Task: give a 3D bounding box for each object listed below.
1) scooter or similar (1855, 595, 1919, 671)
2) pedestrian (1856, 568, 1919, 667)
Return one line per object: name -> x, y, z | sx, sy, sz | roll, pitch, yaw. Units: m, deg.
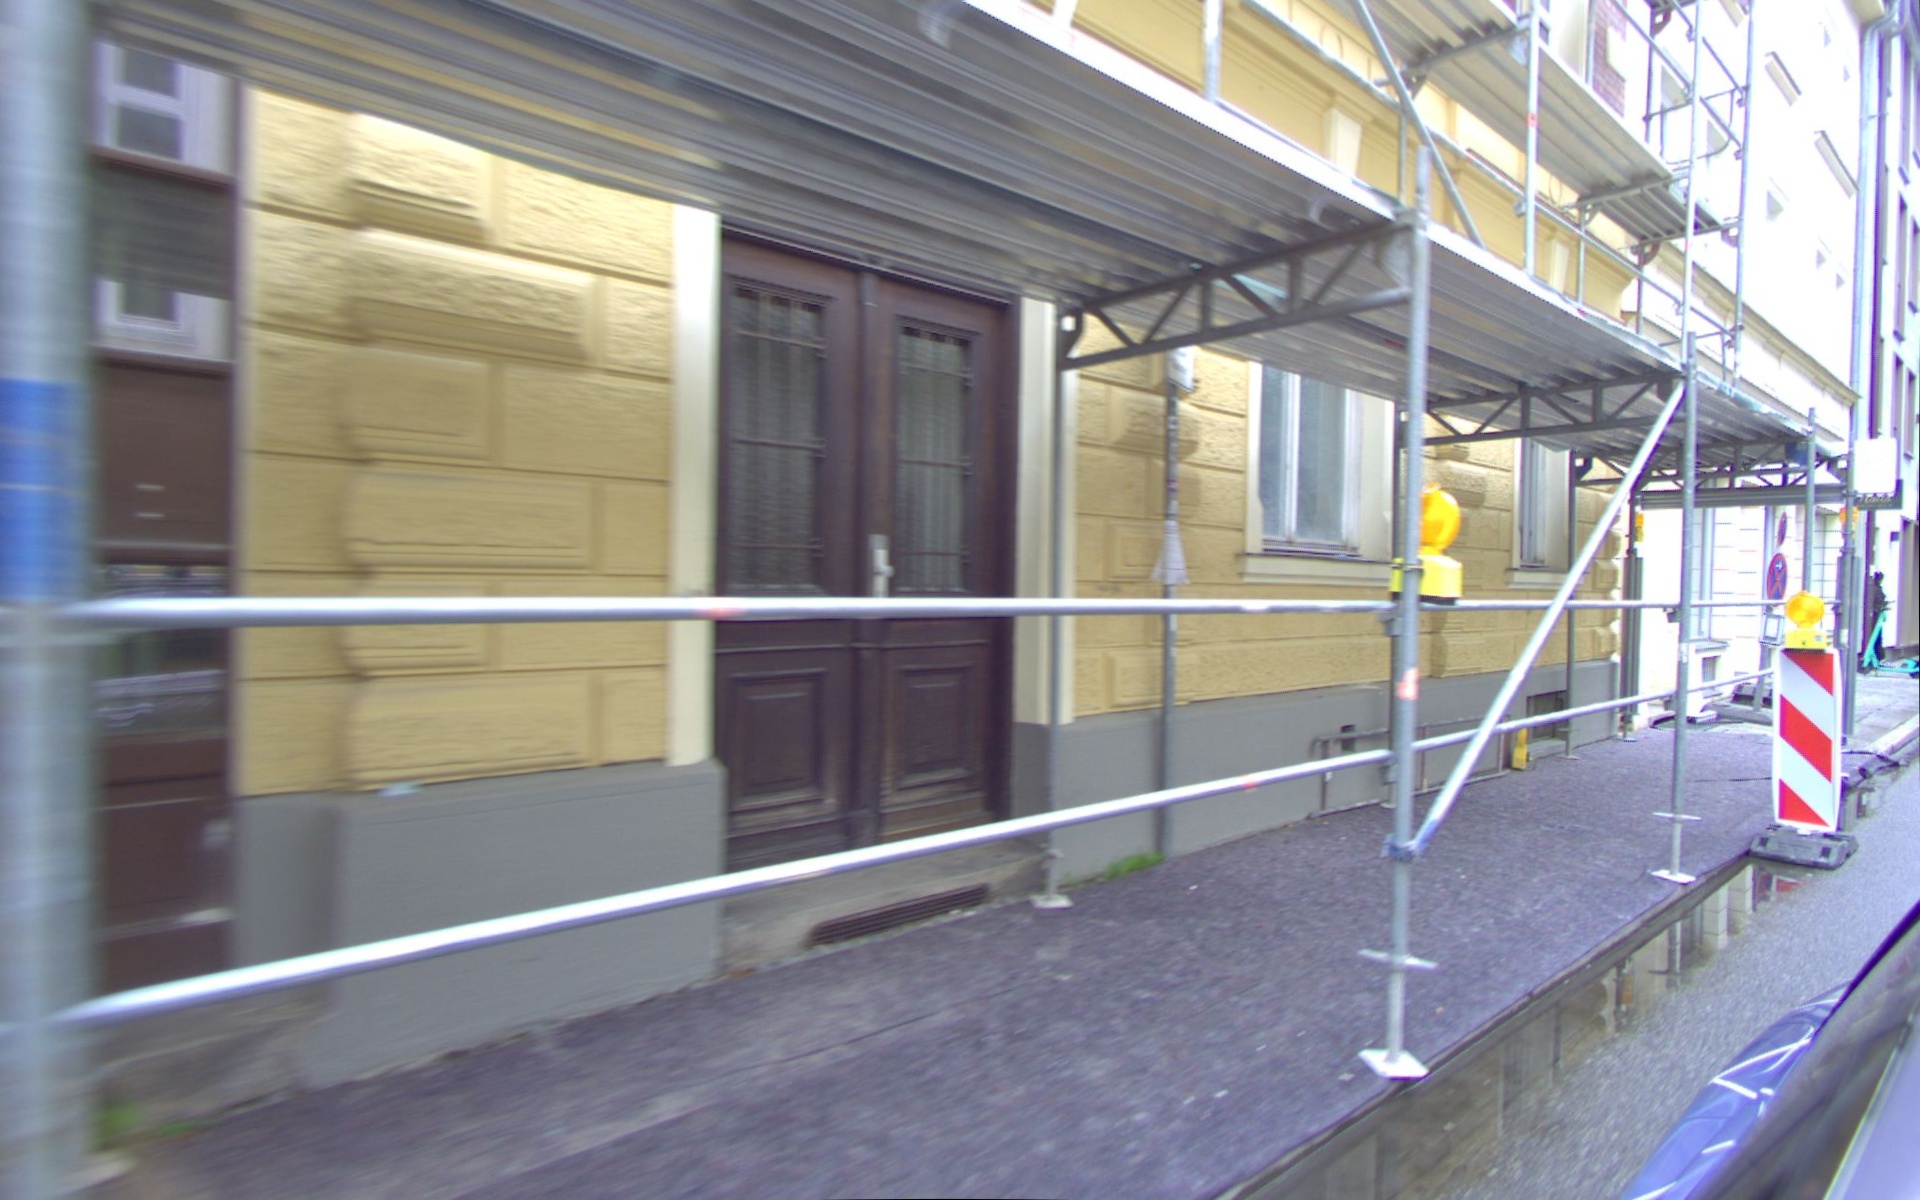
scooter or similar -> 16.132, 0.570, 17.035 | 1.577, 1.197, 0.495 | 3, 3, 1
pedestrian -> 16.610, 0.297, 18.066 | 0.574, 1.707, 0.662 | 0, 2, -14
